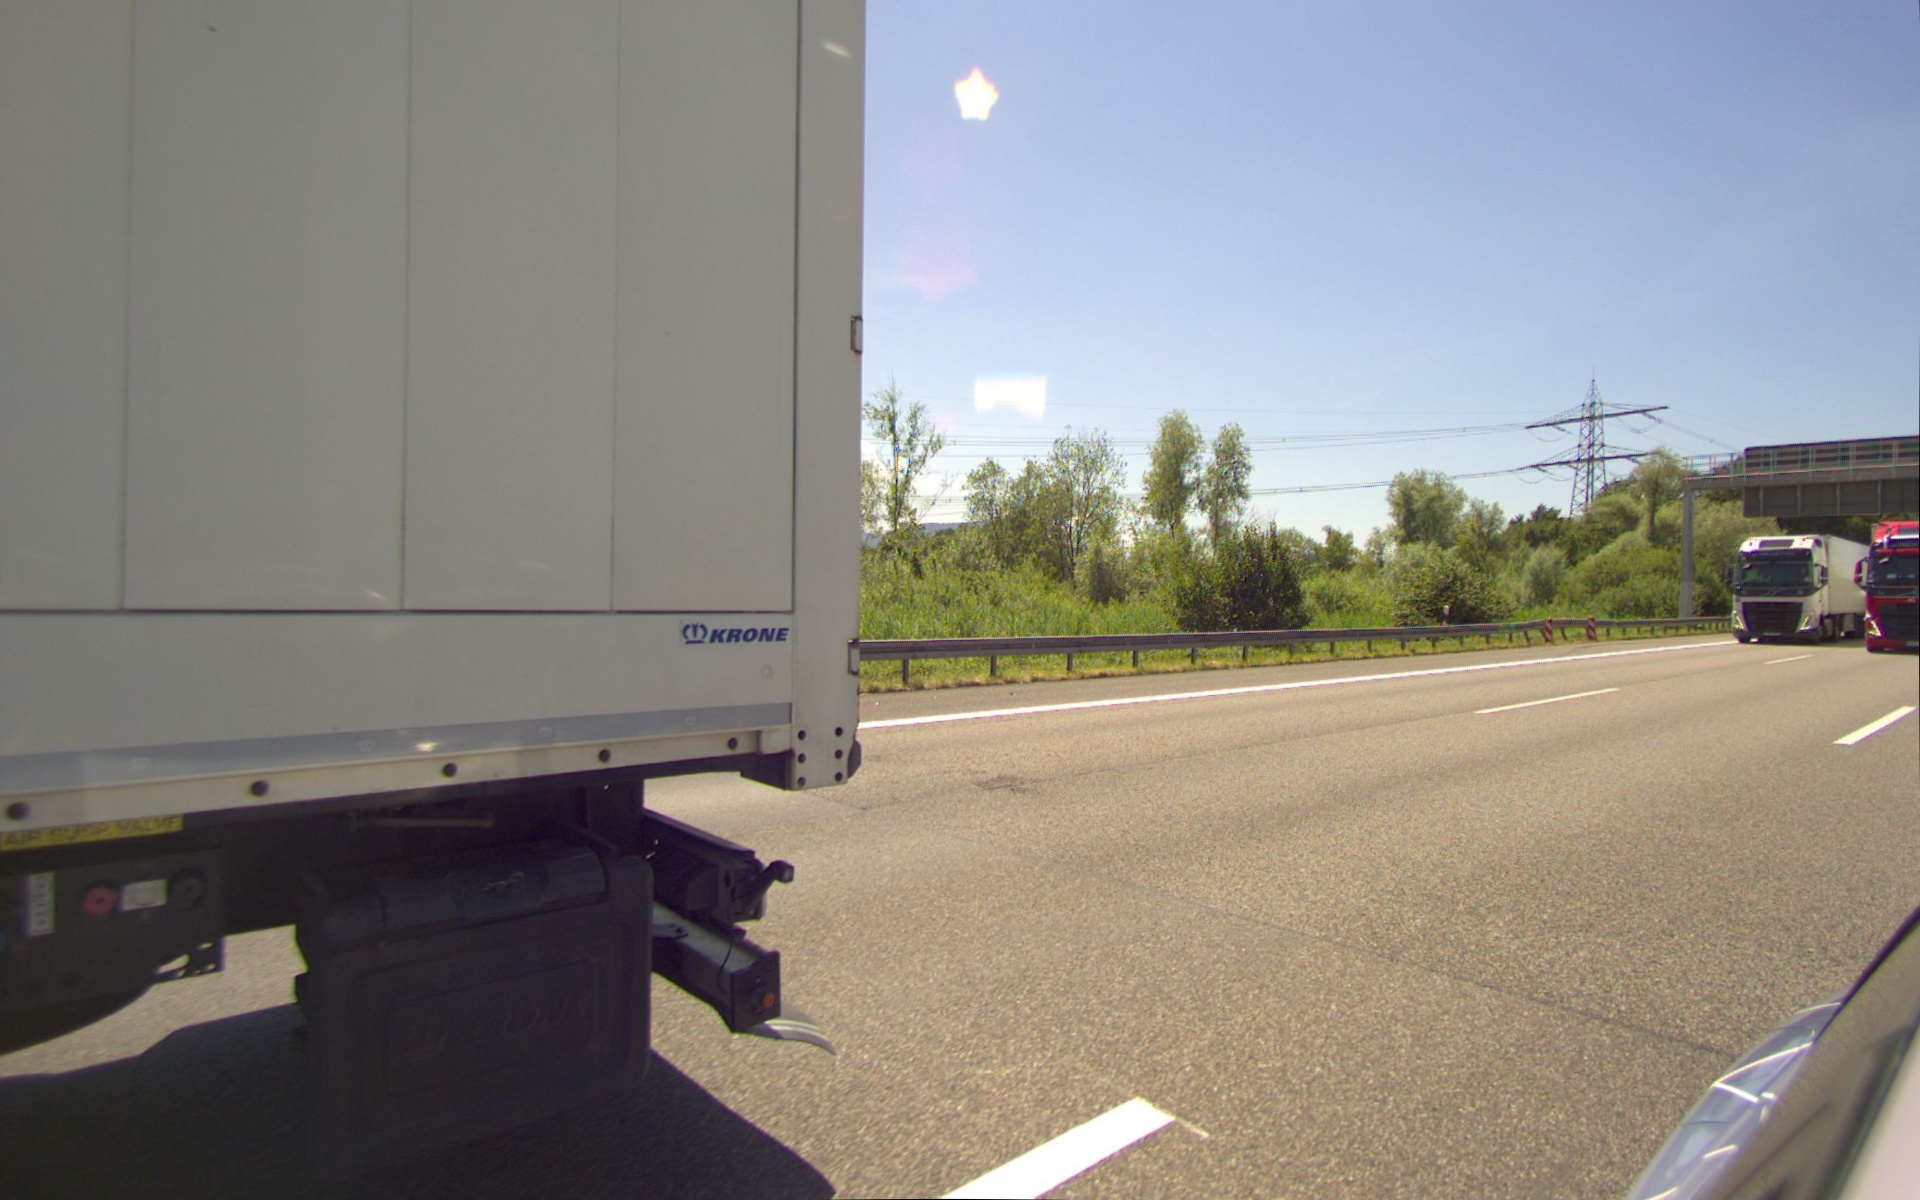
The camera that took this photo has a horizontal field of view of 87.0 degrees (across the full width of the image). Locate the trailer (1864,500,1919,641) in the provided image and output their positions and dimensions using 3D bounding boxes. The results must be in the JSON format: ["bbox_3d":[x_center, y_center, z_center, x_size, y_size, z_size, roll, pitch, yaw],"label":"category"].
[{"bbox_3d":[33.933,-0.908,34.500,15.922,4.068,2.942,-1,0,-42],"label":"trailer"}]

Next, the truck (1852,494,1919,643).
[{"bbox_3d":[28.351,-0.872,29.441,5.997,4.036,2.945,0,0,-42],"label":"truck"}]

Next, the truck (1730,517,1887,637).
[{"bbox_3d":[33.398,-0.833,39.632,10.785,4.144,3.031,0,0,-41],"label":"truck"}]
